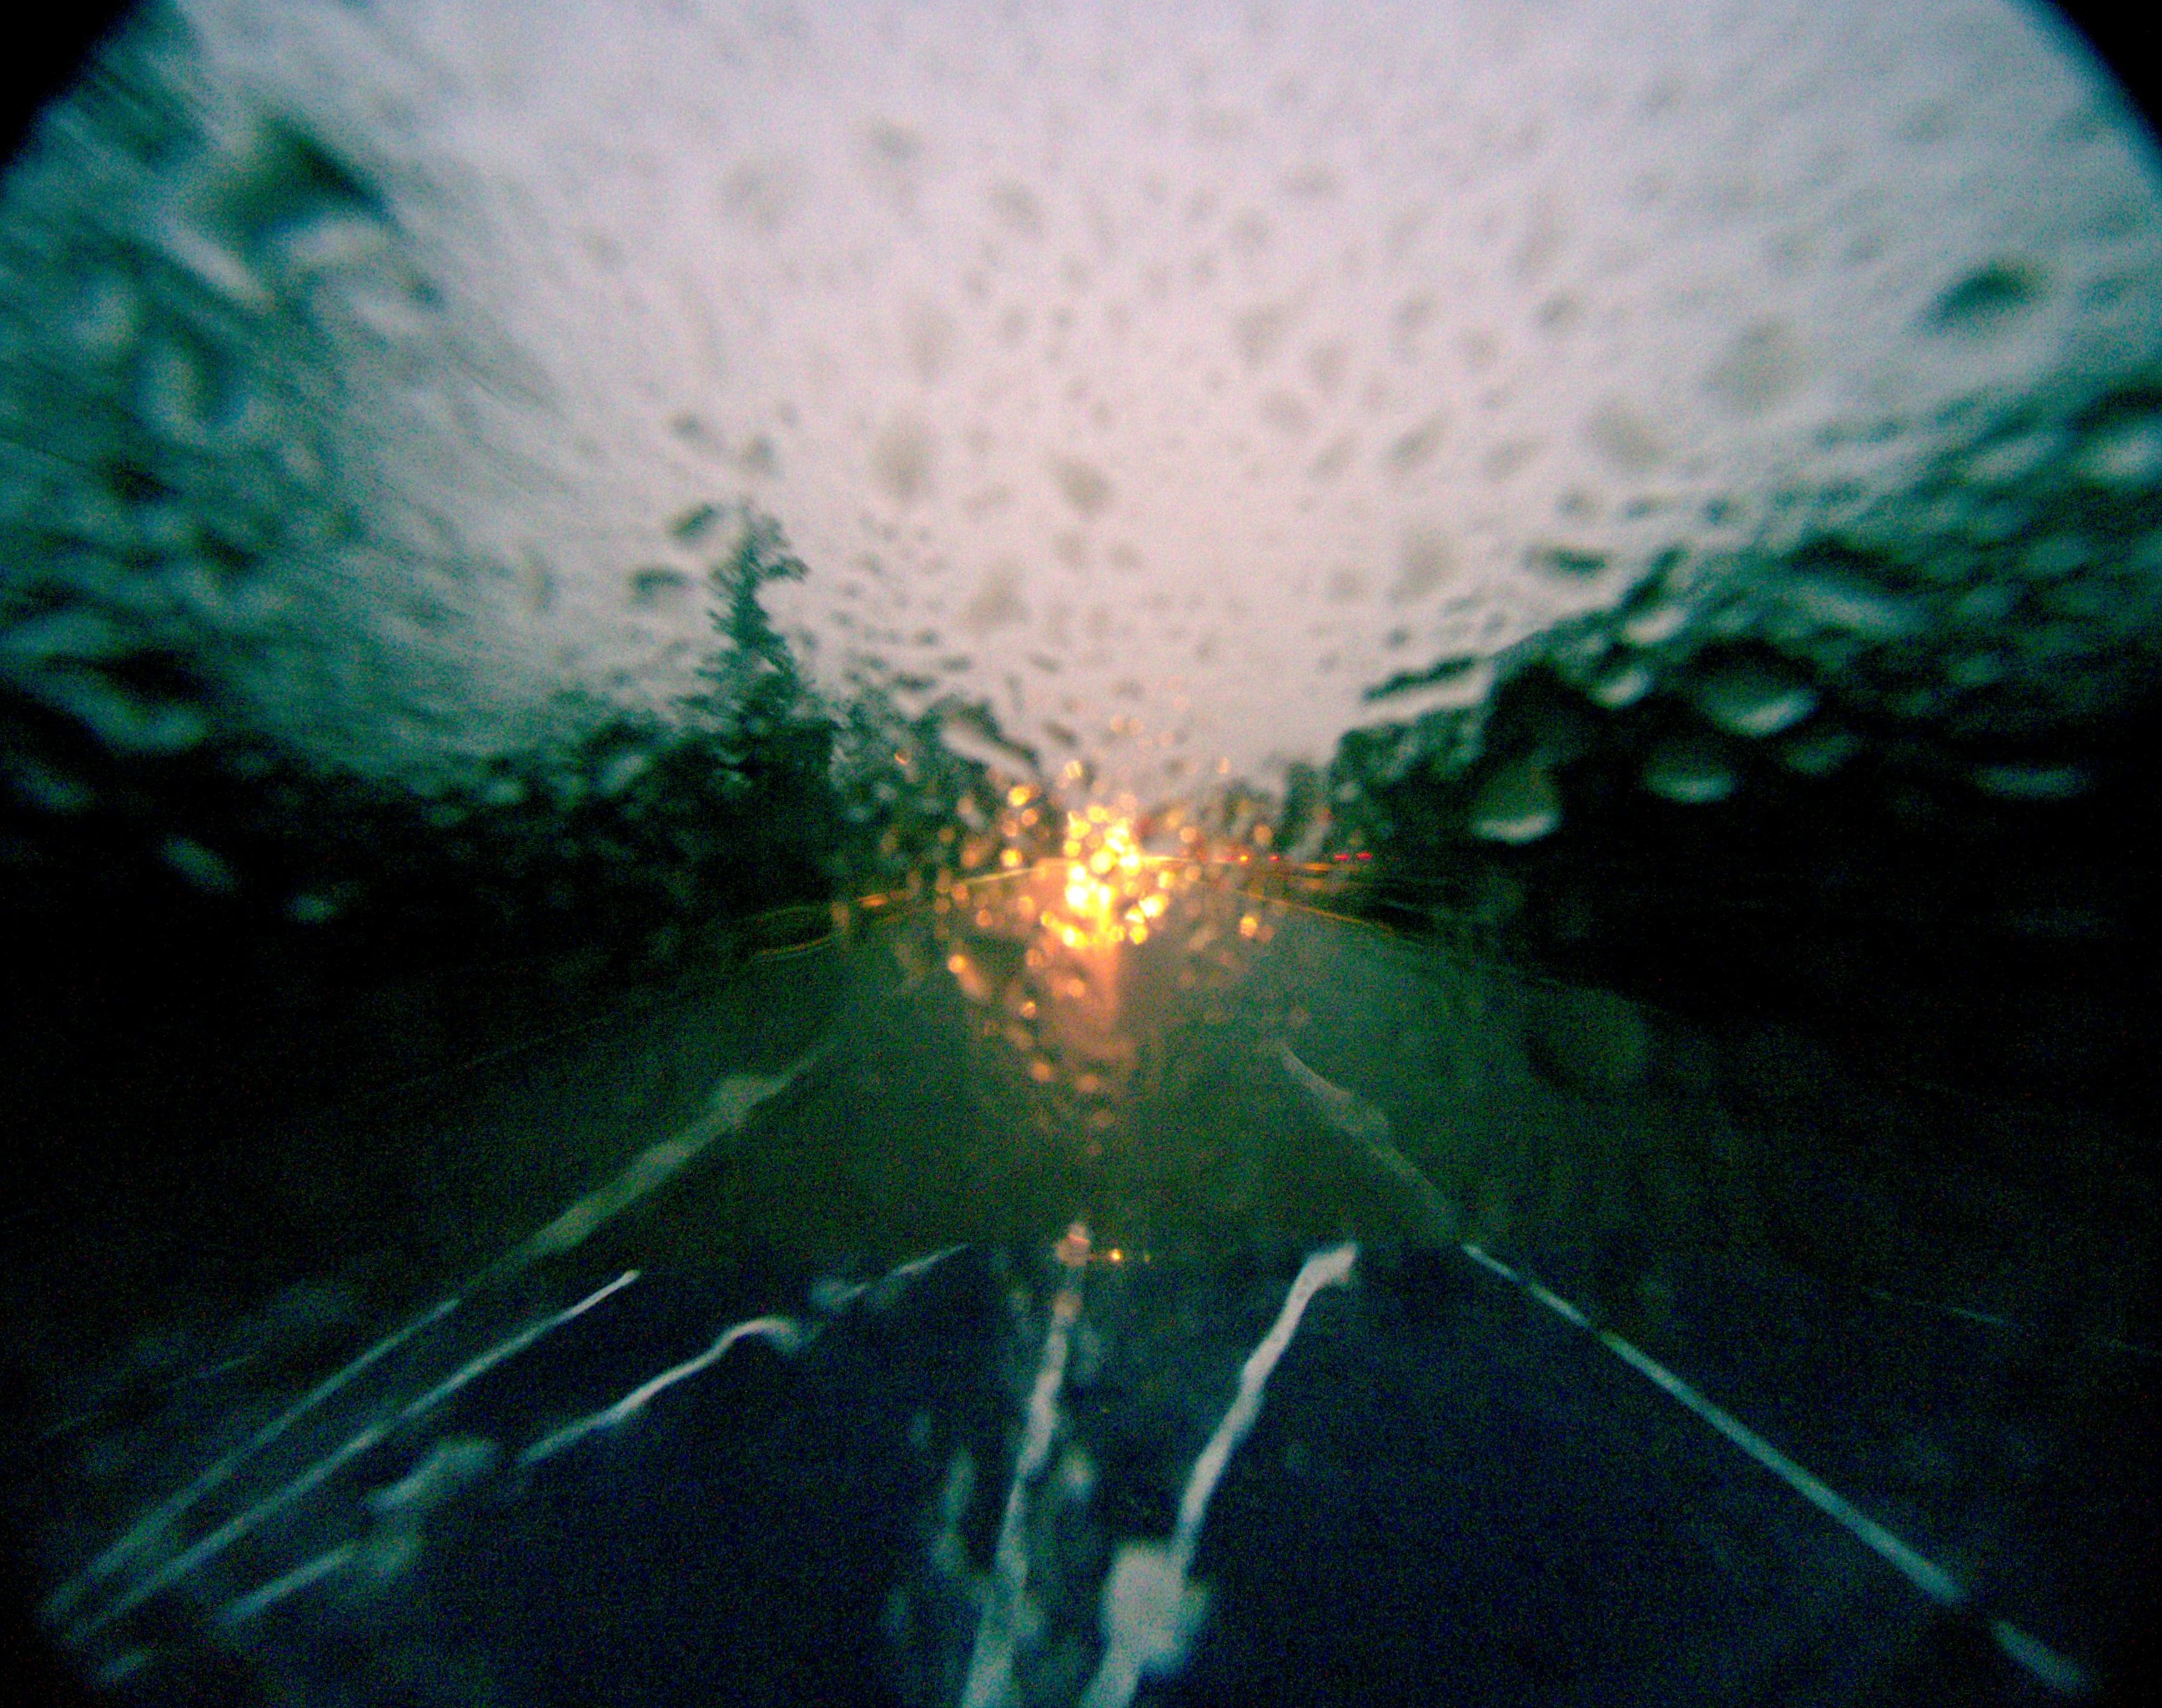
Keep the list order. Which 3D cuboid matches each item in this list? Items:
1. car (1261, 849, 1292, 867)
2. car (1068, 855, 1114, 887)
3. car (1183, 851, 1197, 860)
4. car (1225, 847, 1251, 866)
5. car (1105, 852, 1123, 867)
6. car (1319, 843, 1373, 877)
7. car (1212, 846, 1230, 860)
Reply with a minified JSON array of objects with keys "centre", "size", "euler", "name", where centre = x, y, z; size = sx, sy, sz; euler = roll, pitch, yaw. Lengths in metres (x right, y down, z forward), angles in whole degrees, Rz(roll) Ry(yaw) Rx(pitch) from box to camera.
[{"centre":[19.043,0.356,74.197],"size":[1.998,1.669,4.473],"euler":[0,0,1],"name":"car"},{"centre":[0.578,0.854,40.178],"size":[1.951,1.511,4.789],"euler":[-2,0,6],"name":"car"},{"centre":[18.364,0.245,128.316],"size":[1.900,1.352,4.209],"euler":[-5,0,4],"name":"car"},{"centre":[15.910,0.231,77.157],"size":[1.756,1.743,3.941],"euler":[-5,0,2],"name":"car"},{"centre":[3.794,0.621,88.649],"size":[1.841,1.553,3.867],"euler":[-5,0,1],"name":"car"},{"centre":[15.240,0.325,43.897],"size":[1.648,1.775,4.207],"euler":[-5,0,1],"name":"car"},{"centre":[19.677,-0.163,106.670],"size":[1.998,1.743,4.901],"euler":[-5,0,6],"name":"car"}]
